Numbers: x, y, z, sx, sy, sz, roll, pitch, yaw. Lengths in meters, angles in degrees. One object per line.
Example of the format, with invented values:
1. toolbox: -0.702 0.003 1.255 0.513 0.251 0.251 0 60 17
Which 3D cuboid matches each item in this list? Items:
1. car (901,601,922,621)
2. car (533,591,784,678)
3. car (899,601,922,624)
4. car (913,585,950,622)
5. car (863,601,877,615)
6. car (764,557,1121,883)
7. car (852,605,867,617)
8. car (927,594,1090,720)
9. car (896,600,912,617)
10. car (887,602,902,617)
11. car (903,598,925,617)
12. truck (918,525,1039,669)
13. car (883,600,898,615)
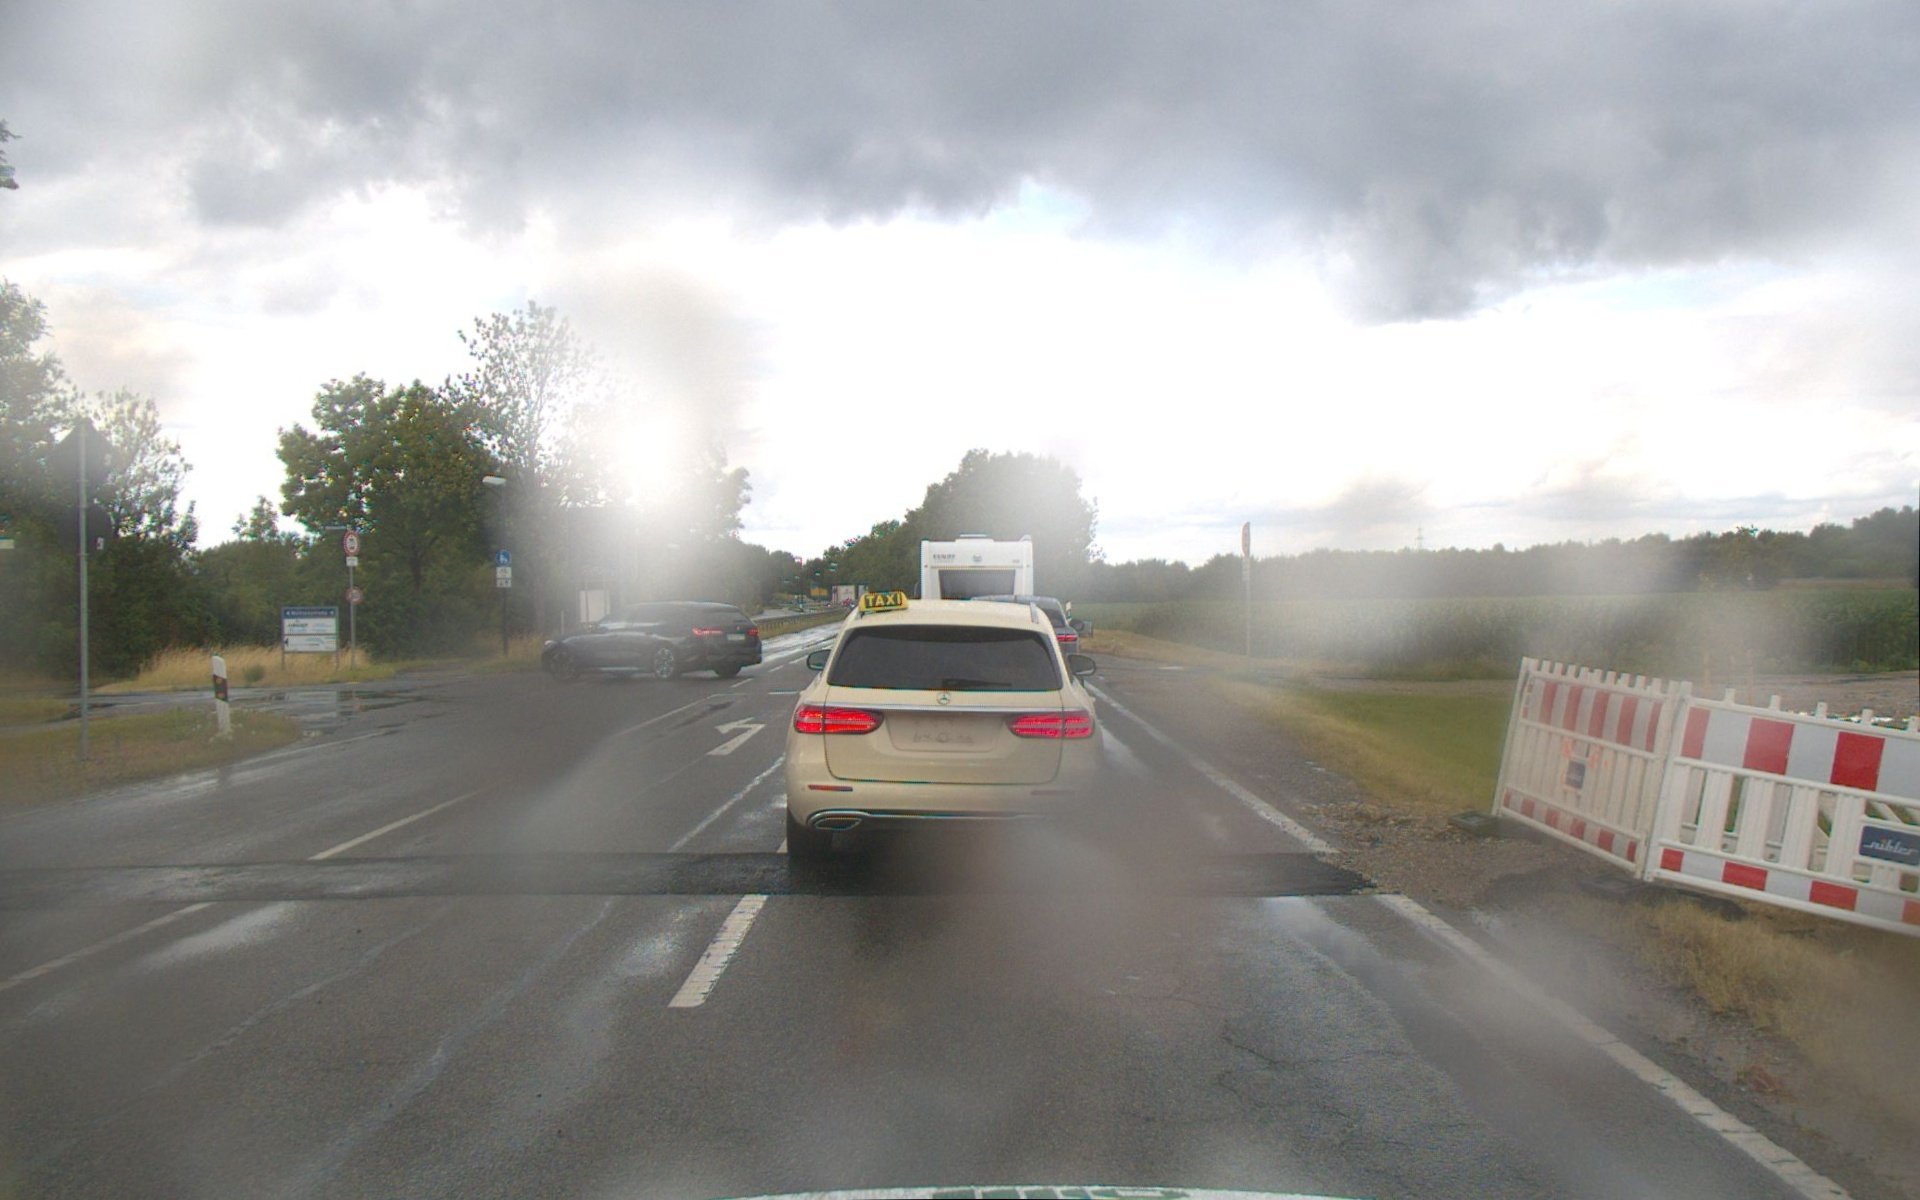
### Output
1. car: -4.328 0.982 148.417 1.841 1.792 3.833 -1 0 -1
2. car: -5.988 0.642 32.762 4.534 1.574 2.303 1 0 32
3. car: -3.964 1.002 131.936 1.755 1.808 3.720 -1 0 -1
4. car: -1.516 0.162 87.222 1.876 1.873 3.795 -1 0 -1
5. car: -13.172 1.171 243.178 1.857 1.872 3.881 -1 0 -1
6. car: -0.116 0.617 10.405 1.805 1.646 3.999 0 0 -1
7. car: -13.596 1.532 223.719 1.791 1.601 3.999 1 0 0
8. car: 0.563 0.703 22.050 1.953 1.488 3.999 1 0 -1
9. car: -6.374 0.930 187.071 1.705 1.892 3.783 -1 0 -3
10. car: -7.959 1.159 200.782 1.714 1.691 3.669 -1 0 -5
11. car: -4.471 0.737 160.347 1.954 1.803 3.996 -1 0 -5
12. truck: 0.306 -0.068 35.923 2.315 2.776 7.313 -1 0 -1
13. car: -8.934 0.949 212.547 1.858 1.928 3.840 -1 0 -4
